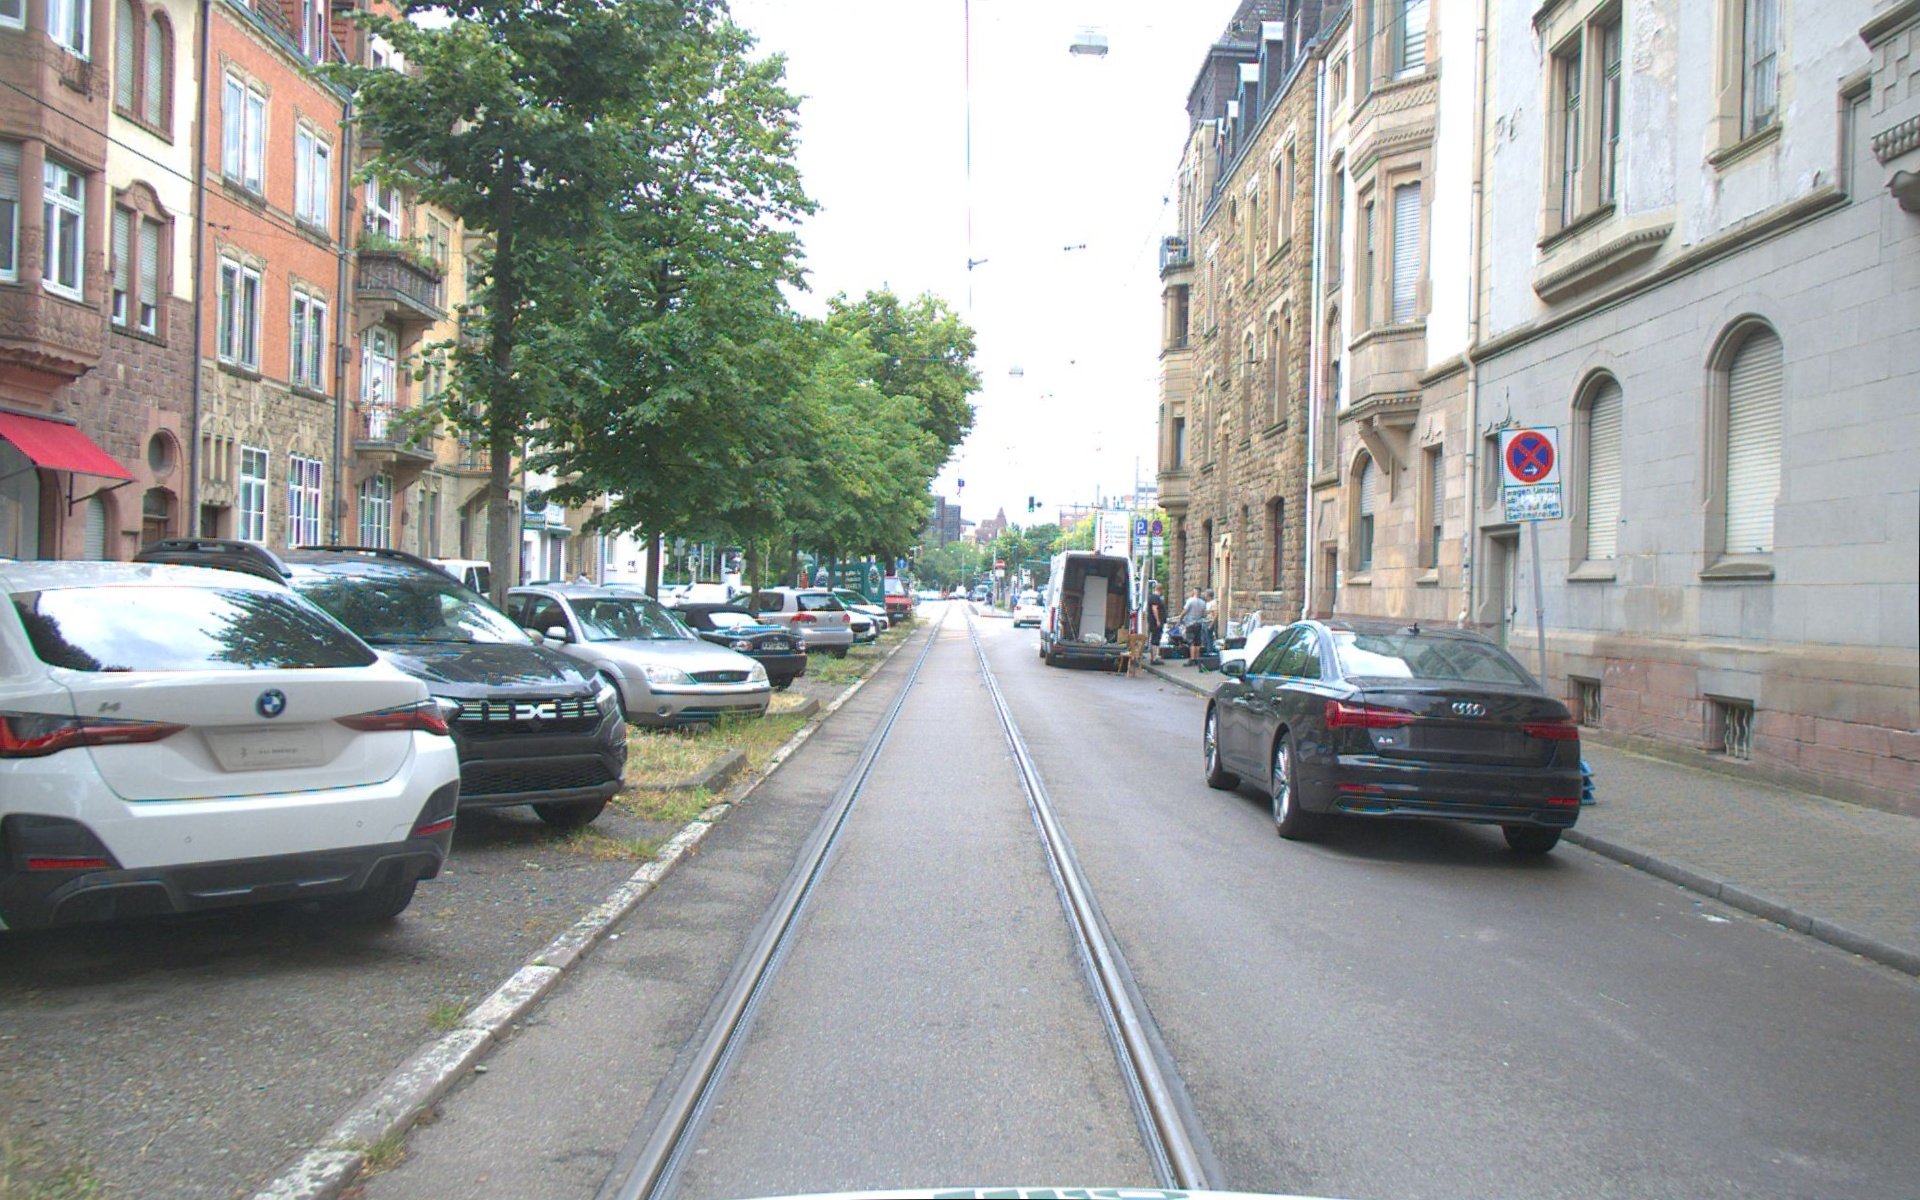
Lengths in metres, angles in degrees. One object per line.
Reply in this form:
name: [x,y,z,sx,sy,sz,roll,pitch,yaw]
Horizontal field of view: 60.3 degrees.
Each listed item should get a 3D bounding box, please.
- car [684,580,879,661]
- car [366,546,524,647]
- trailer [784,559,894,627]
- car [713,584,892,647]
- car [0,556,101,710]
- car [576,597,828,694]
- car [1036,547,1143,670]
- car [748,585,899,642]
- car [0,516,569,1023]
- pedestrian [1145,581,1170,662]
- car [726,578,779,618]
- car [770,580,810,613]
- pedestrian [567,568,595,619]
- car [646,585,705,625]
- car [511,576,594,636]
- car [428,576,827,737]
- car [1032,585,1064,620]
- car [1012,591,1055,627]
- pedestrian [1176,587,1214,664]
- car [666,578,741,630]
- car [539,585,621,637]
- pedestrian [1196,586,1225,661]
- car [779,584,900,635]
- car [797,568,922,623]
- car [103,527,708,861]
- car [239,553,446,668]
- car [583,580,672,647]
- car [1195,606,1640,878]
car: [-3.795,0.404,34.761,4.043,1.510,1.787,2,0,41]
car: [-11.083,-0.061,35.999,1.843,1.986,5.093,2,0,-1]
trailer: [-4.446,-0.277,60.662,3.594,2.385,1.926,1,0,33]
car: [-4.087,0.372,42.559,4.601,1.460,1.889,2,0,40]
car: [-11.110,0.329,17.463,1.705,1.655,4.553,2,0,-1]
car: [-3.875,0.632,24.497,3.895,1.223,1.657,2,0,44]
car: [2.994,0.171,39.659,1.972,2.593,7.017,3,0,1]
car: [-3.897,0.377,46.803,4.264,1.460,1.887,2,0,42]
car: [-3.814,0.486,7.196,4.465,1.516,2.022,1,0,44]
pedestrian: [4.597,0.497,38.480,0.488,1.847,0.803,-1,0,1]
car: [-8.463,-0.078,67.649,1.610,1.530,4.621,2,0,-1]
car: [-8.430,-0.161,82.210,1.610,1.530,3.883,2,0,-1]
pedestrian: [-13.518,-0.239,59.006,0.781,1.797,0.900,1,0,-1]
car: [-11.150,0.178,65.037,1.601,1.468,4.569,2,0,-2]
car: [-11.326,0.160,46.148,1.601,1.577,2.950,2,0,-2]
car: [-3.598,0.509,17.332,4.587,1.392,1.746,2,0,43]
car: [5.247,0.161,99.173,1.745,1.997,4.383,2,0,1]
car: [3.291,0.381,73.751,1.745,1.498,4.012,2,0,4]
pedestrian: [5.363,0.579,37.740,0.694,1.729,0.488,-1,0,-28]
car: [-8.371,0.133,54.398,1.768,1.606,4.546,2,0,-1]
car: [-11.446,0.307,50.030,1.601,1.468,3.922,2,0,-2]
pedestrian: [5.832,0.543,38.573,0.498,1.747,0.580,-1,0,-10]
car: [-3.858,0.286,52.690,3.795,1.488,1.679,2,0,42]
car: [-3.879,-0.186,63.573,4.677,2.009,1.950,2,0,39]
car: [-3.662,0.444,10.425,4.456,1.661,1.753,1,0,44]
car: [-10.810,0.178,29.399,1.777,1.812,5.116,2,0,-1]
car: [-8.079,0.321,40.387,1.571,1.541,2.892,2,0,-1]
car: [3.031,0.836,12.206,1.764,1.463,5.195,2,0,-1]
